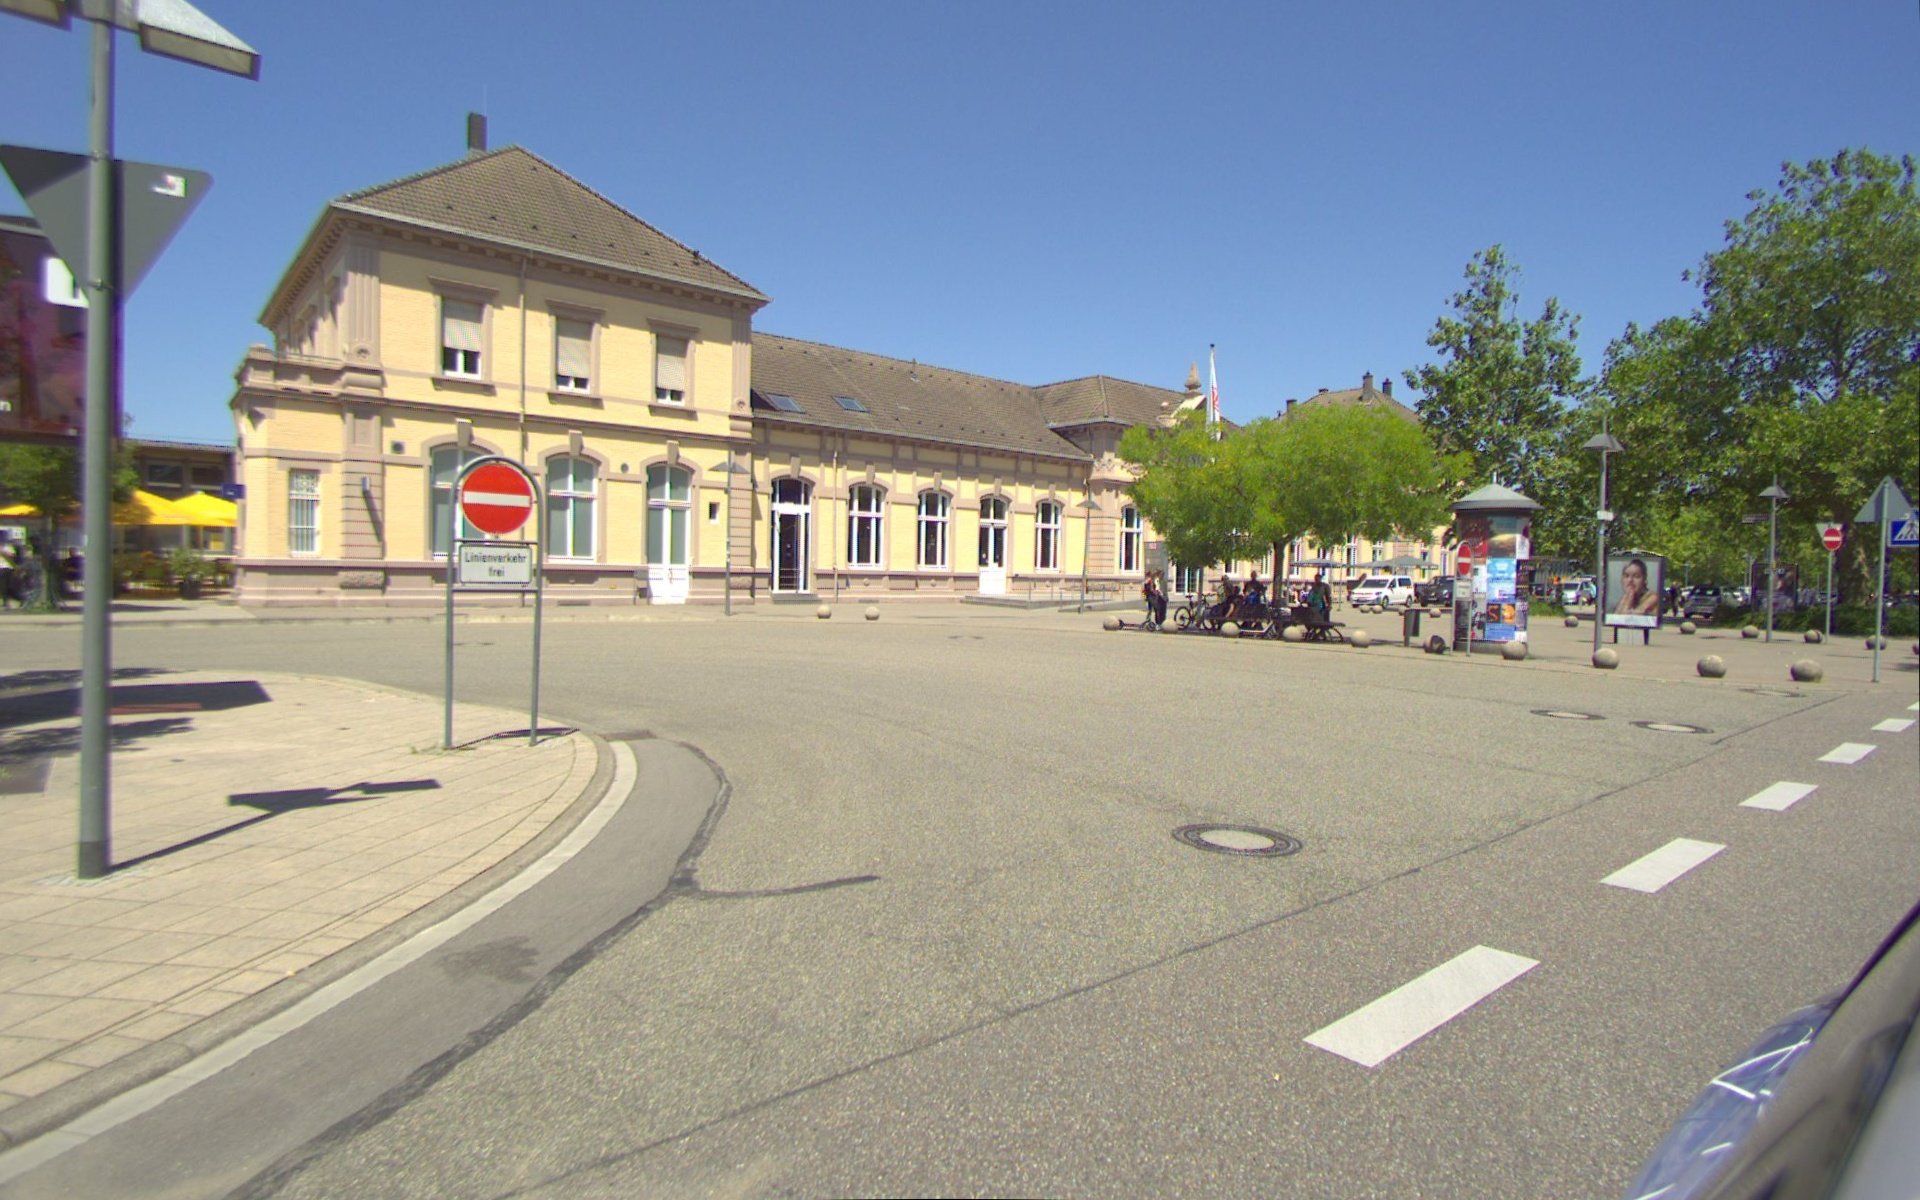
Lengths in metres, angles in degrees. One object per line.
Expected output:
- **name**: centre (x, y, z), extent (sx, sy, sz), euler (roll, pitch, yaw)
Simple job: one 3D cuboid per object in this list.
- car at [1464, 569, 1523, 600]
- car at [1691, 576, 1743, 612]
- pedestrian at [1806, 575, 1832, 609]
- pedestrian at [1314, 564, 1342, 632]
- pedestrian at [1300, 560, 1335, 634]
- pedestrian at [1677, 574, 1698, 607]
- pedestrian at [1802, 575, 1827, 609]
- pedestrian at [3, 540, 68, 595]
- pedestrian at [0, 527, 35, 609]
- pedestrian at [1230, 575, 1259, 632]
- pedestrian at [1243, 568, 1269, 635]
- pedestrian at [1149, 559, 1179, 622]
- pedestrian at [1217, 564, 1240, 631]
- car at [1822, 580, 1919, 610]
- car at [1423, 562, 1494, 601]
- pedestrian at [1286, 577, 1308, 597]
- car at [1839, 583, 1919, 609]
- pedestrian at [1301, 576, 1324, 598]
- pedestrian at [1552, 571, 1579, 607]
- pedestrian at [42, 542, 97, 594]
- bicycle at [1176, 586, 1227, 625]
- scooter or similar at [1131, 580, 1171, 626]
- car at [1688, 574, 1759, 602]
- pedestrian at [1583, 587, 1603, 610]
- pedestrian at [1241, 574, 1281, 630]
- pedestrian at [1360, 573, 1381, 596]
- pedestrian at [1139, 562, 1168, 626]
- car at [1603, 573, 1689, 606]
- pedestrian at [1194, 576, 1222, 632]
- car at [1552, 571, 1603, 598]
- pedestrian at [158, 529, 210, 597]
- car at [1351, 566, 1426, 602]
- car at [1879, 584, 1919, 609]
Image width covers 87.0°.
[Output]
- **car**: centre (33.893, -0.949, 64.246), extent (2.074, 1.863, 4.763), euler (1, 1, 44)
- **car**: centre (35.526, -0.298, 47.503), extent (1.597, 1.613, 3.058), euler (2, 2, 43)
- **pedestrian**: centre (45.102, -0.431, 53.123), extent (0.832, 1.792, 0.843), euler (2, 1, 29)
- **pedestrian**: centre (9.714, -0.071, 26.710), extent (0.621, 1.761, 0.543), euler (1, 1, 25)
- **pedestrian**: centre (8.878, -0.084, 25.111), extent (0.688, 1.785, 0.578), euler (2, 1, 32)
- **pedestrian**: centre (35.233, -0.469, 49.007), extent (0.580, 1.567, 0.609), euler (2, 2, 12)
- **pedestrian**: centre (45.610, -0.426, 54.017), extent (0.832, 1.792, 0.842), euler (2, 1, 31)
- **pedestrian**: centre (-24.416, -0.869, 26.731), extent (1.043, 1.369, 0.968), euler (4, 5, 29)
- **pedestrian**: centre (-21.686, -0.735, 23.103), extent (0.586, 1.831, 0.630), euler (1, 1, 8)
- **pedestrian**: centre (7.054, 0.072, 25.093), extent (0.592, 1.381, 0.595), euler (2, 1, 22)
- **pedestrian**: centre (7.926, 0.019, 27.100), extent (0.579, 1.761, 0.595), euler (1, 1, 24)
- **pedestrian**: centre (5.629, -0.260, 27.922), extent (0.616, 1.706, 0.583), euler (2, 1, 38)
- **pedestrian**: centre (7.157, -0.079, 26.962), extent (0.506, 1.761, 0.567), euler (1, 1, 21)
- **car**: centre (47.983, -0.260, 52.445), extent (4.740, 1.434, 1.767), euler (2, 2, 31)
- **car**: centre (29.378, -1.067, 59.585), extent (2.087, 2.151, 5.732), euler (1, 1, 44)
- **pedestrian**: centre (19.283, -0.744, 57.886), extent (0.838, 1.093, 0.880), euler (0, 3, -44)
- **car**: centre (54.879, -0.248, 59.971), extent (3.831, 1.478, 1.625), euler (2, 2, 22)
- **pedestrian**: centre (19.924, -0.735, 57.198), extent (0.838, 1.176, 0.880), euler (0, 3, -44)
- **pedestrian**: centre (29.201, -0.546, 48.801), extent (0.759, 1.738, 0.814), euler (1, 1, 3)
- **pedestrian**: centre (-24.766, -0.898, 28.168), extent (1.033, 1.369, 0.977), euler (-2, 5, -38)
- **bicycle**: centre (6.968, 0.155, 29.110), extent (1.916, 1.073, 0.421), euler (-1, 2, -43)
- **scooter or similar**: centre (4.981, 0.077, 26.410), extent (1.025, 1.153, 0.290), euler (2, 2, 43)
- **car**: centre (49.520, -0.790, 65.739), extent (1.768, 1.624, 4.061), euler (0, 3, 4)
- **pedestrian**: centre (40.822, -0.099, 65.276), extent (0.785, 1.442, 0.692), euler (1, 1, -5)
- **pedestrian**: centre (7.756, 0.043, 26.079), extent (0.901, 1.403, 0.938), euler (1, 1, 20)
- **pedestrian**: centre (25.940, -0.964, 63.935), extent (0.838, 1.388, 0.880), euler (0, 3, -44)
- **pedestrian**: centre (5.239, -0.165, 27.453), extent (0.552, 1.706, 0.579), euler (2, 1, 38)
- **car**: centre (37.309, -0.601, 55.181), extent (1.768, 1.561, 4.529), euler (0, 3, 3)
- **pedestrian**: centre (6.252, 0.085, 25.502), extent (0.592, 1.381, 0.595), euler (2, 1, 22)
- **car**: centre (44.754, -1.125, 73.291), extent (1.998, 1.863, 5.234), euler (0, 0, 44)
- **pedestrian**: centre (-21.743, -1.029, 28.358), extent (1.064, 1.870, 1.081), euler (0, 2, -42)
- **car**: centre (23.307, -0.846, 54.934), extent (5.052, 1.889, 1.811), euler (0, 0, -43)
- **car**: centre (58.627, -0.183, 61.426), extent (3.831, 1.478, 1.625), euler (2, 2, 22)
